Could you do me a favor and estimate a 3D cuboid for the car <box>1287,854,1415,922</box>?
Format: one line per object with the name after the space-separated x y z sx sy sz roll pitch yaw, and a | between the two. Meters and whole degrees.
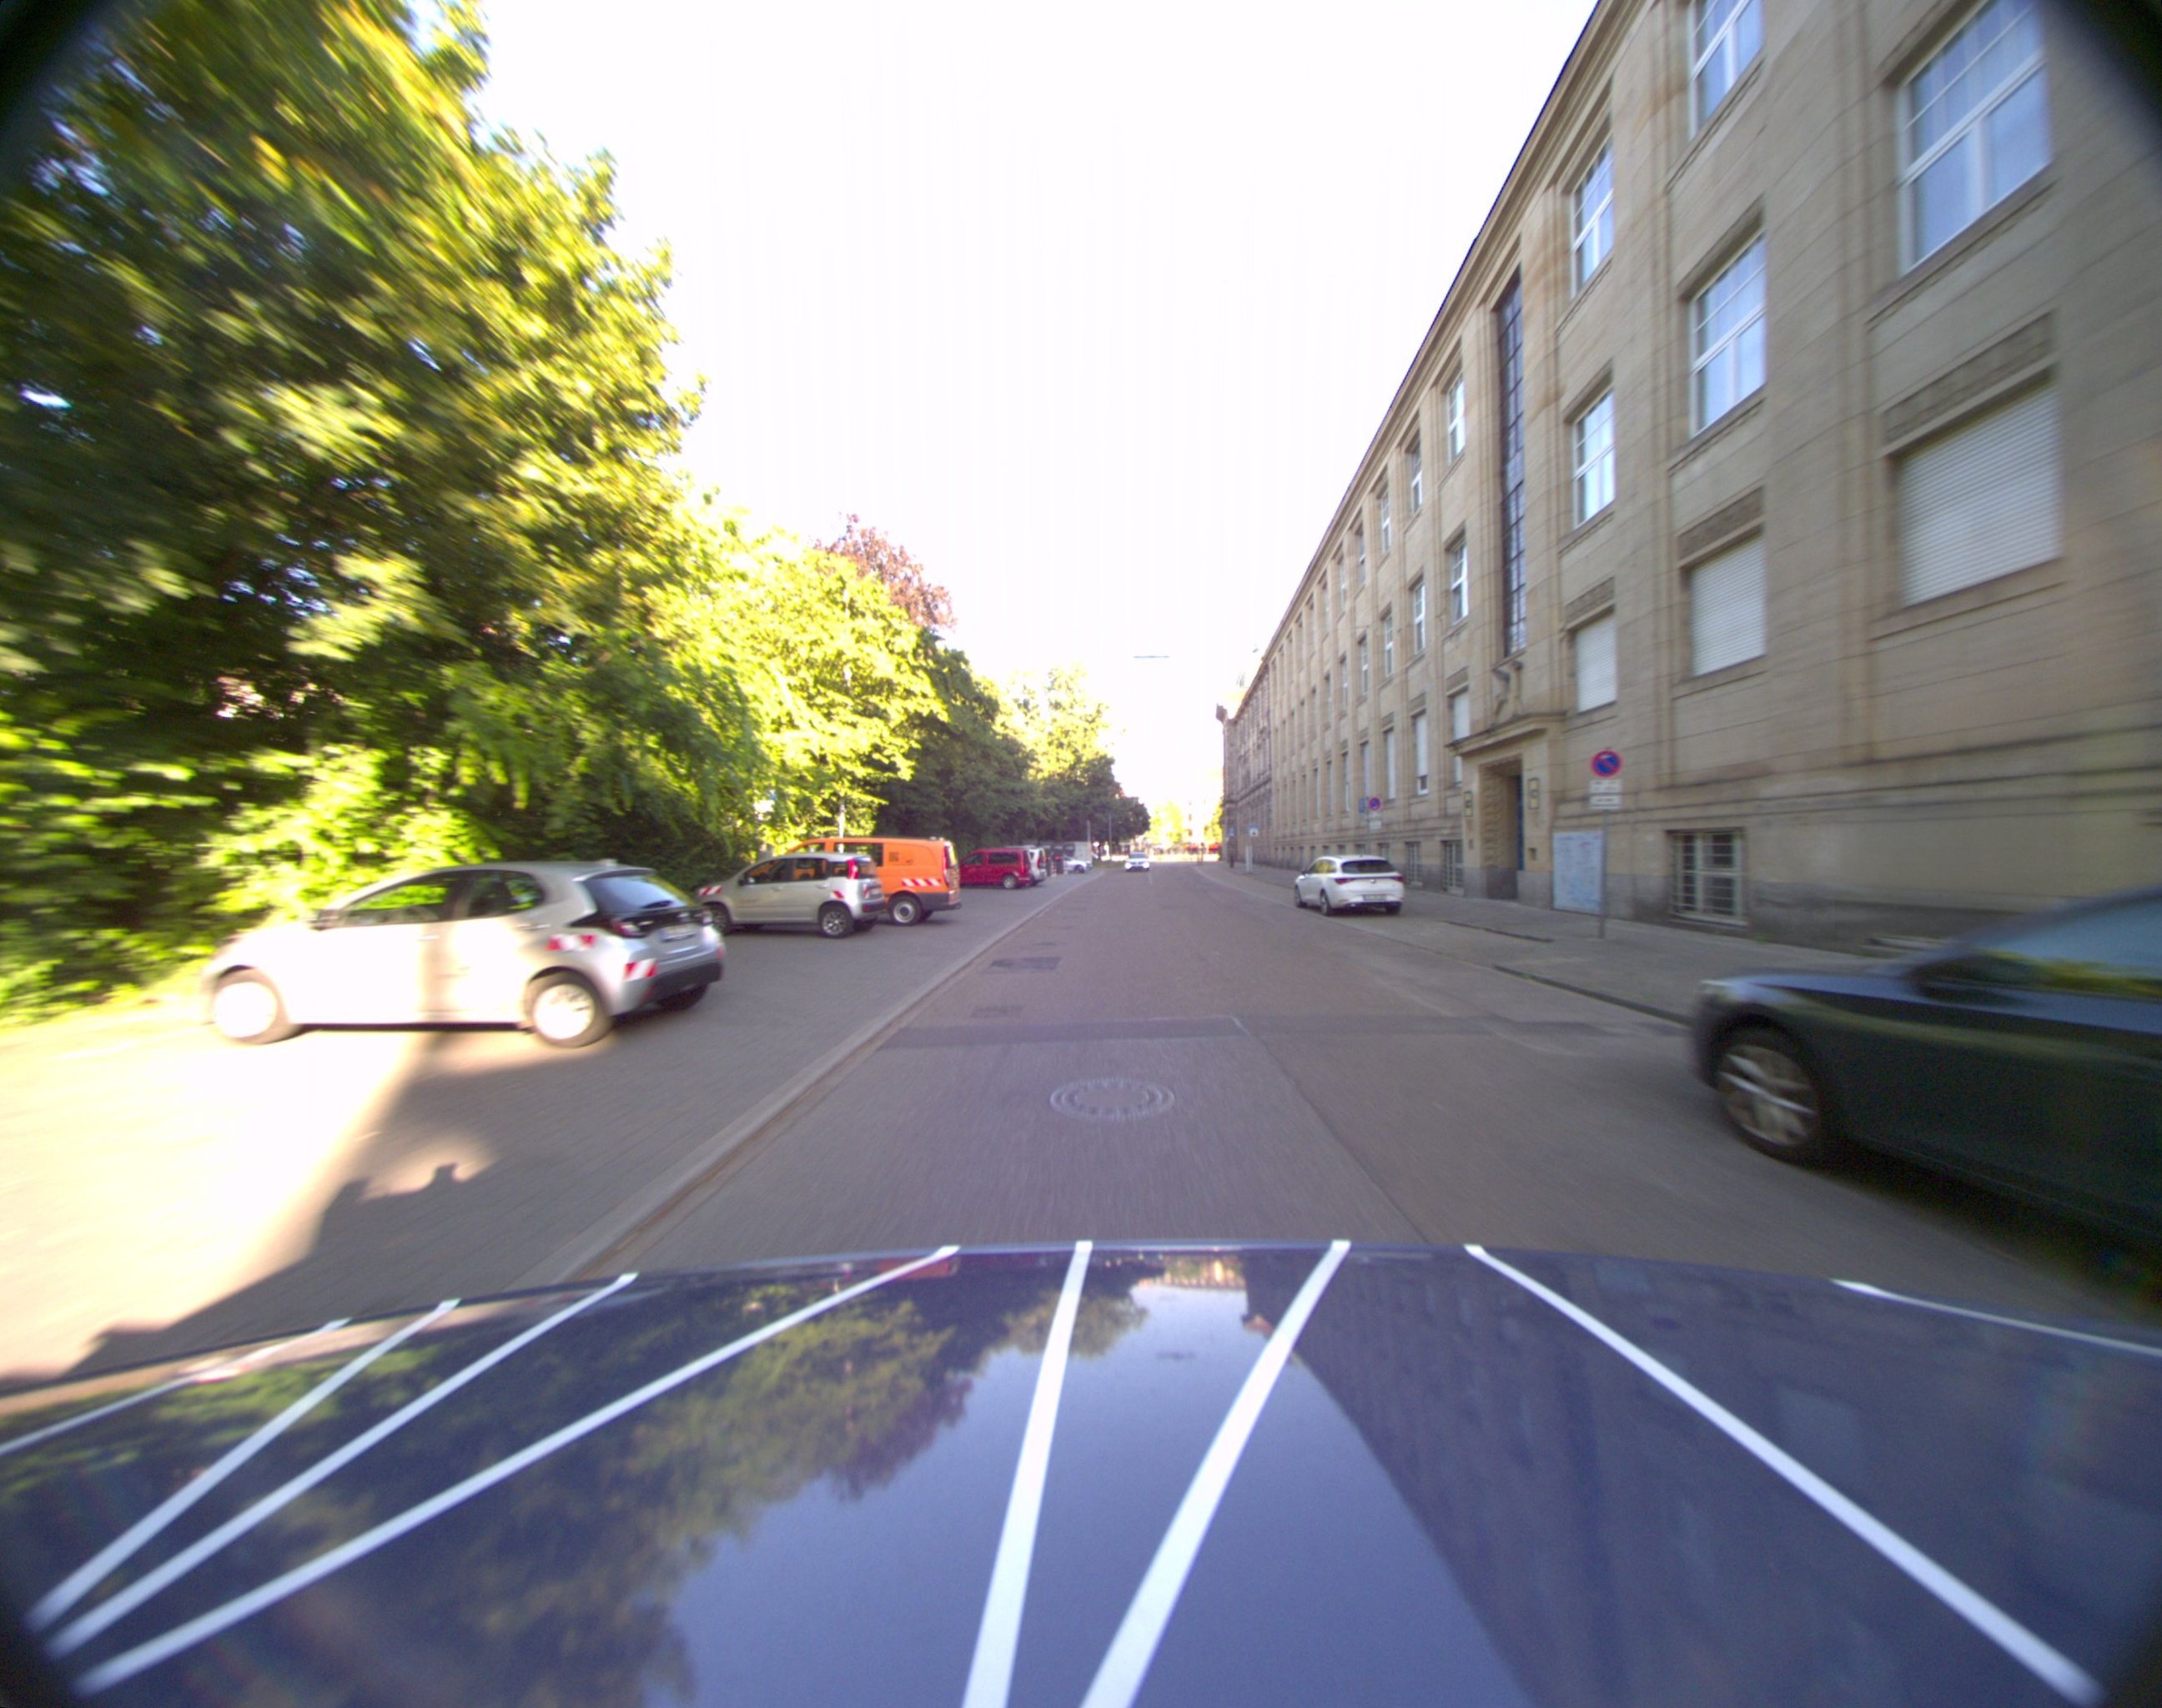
6.664 0.773 19.278 1.748 1.426 4.561 -2 0 2 | car

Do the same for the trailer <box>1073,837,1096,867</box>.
0.336 -0.177 68.910 1.600 2.625 3.704 -1 1 7 | trailer

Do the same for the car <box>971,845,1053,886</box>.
-3.287 0.523 36.685 3.608 1.873 1.784 1 1 7 | car

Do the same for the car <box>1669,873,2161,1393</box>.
4.028 0.850 2.081 1.747 1.439 4.209 -1 1 3 | car

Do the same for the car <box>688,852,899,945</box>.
-5.446 0.811 14.677 3.404 1.622 1.680 1 1 4 | car

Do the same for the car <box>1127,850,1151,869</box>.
4.749 0.419 61.882 1.687 1.445 4.105 -1 1 8 | car

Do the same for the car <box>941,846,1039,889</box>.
-4.046 0.563 34.204 3.979 1.852 1.920 1 1 8 | car

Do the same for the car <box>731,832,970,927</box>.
-5.113 0.540 17.402 4.807 1.986 2.080 1 1 0 | car

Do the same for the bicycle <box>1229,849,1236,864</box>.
12.478 0.180 62.468 0.457 1.202 1.880 -1 1 15 | bicycle

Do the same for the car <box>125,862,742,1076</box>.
-5.389 0.888 6.707 3.996 1.538 1.735 1 1 2 | car

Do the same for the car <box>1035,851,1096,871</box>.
-1.162 0.553 58.581 4.440 1.458 1.711 -1 1 7 | car
